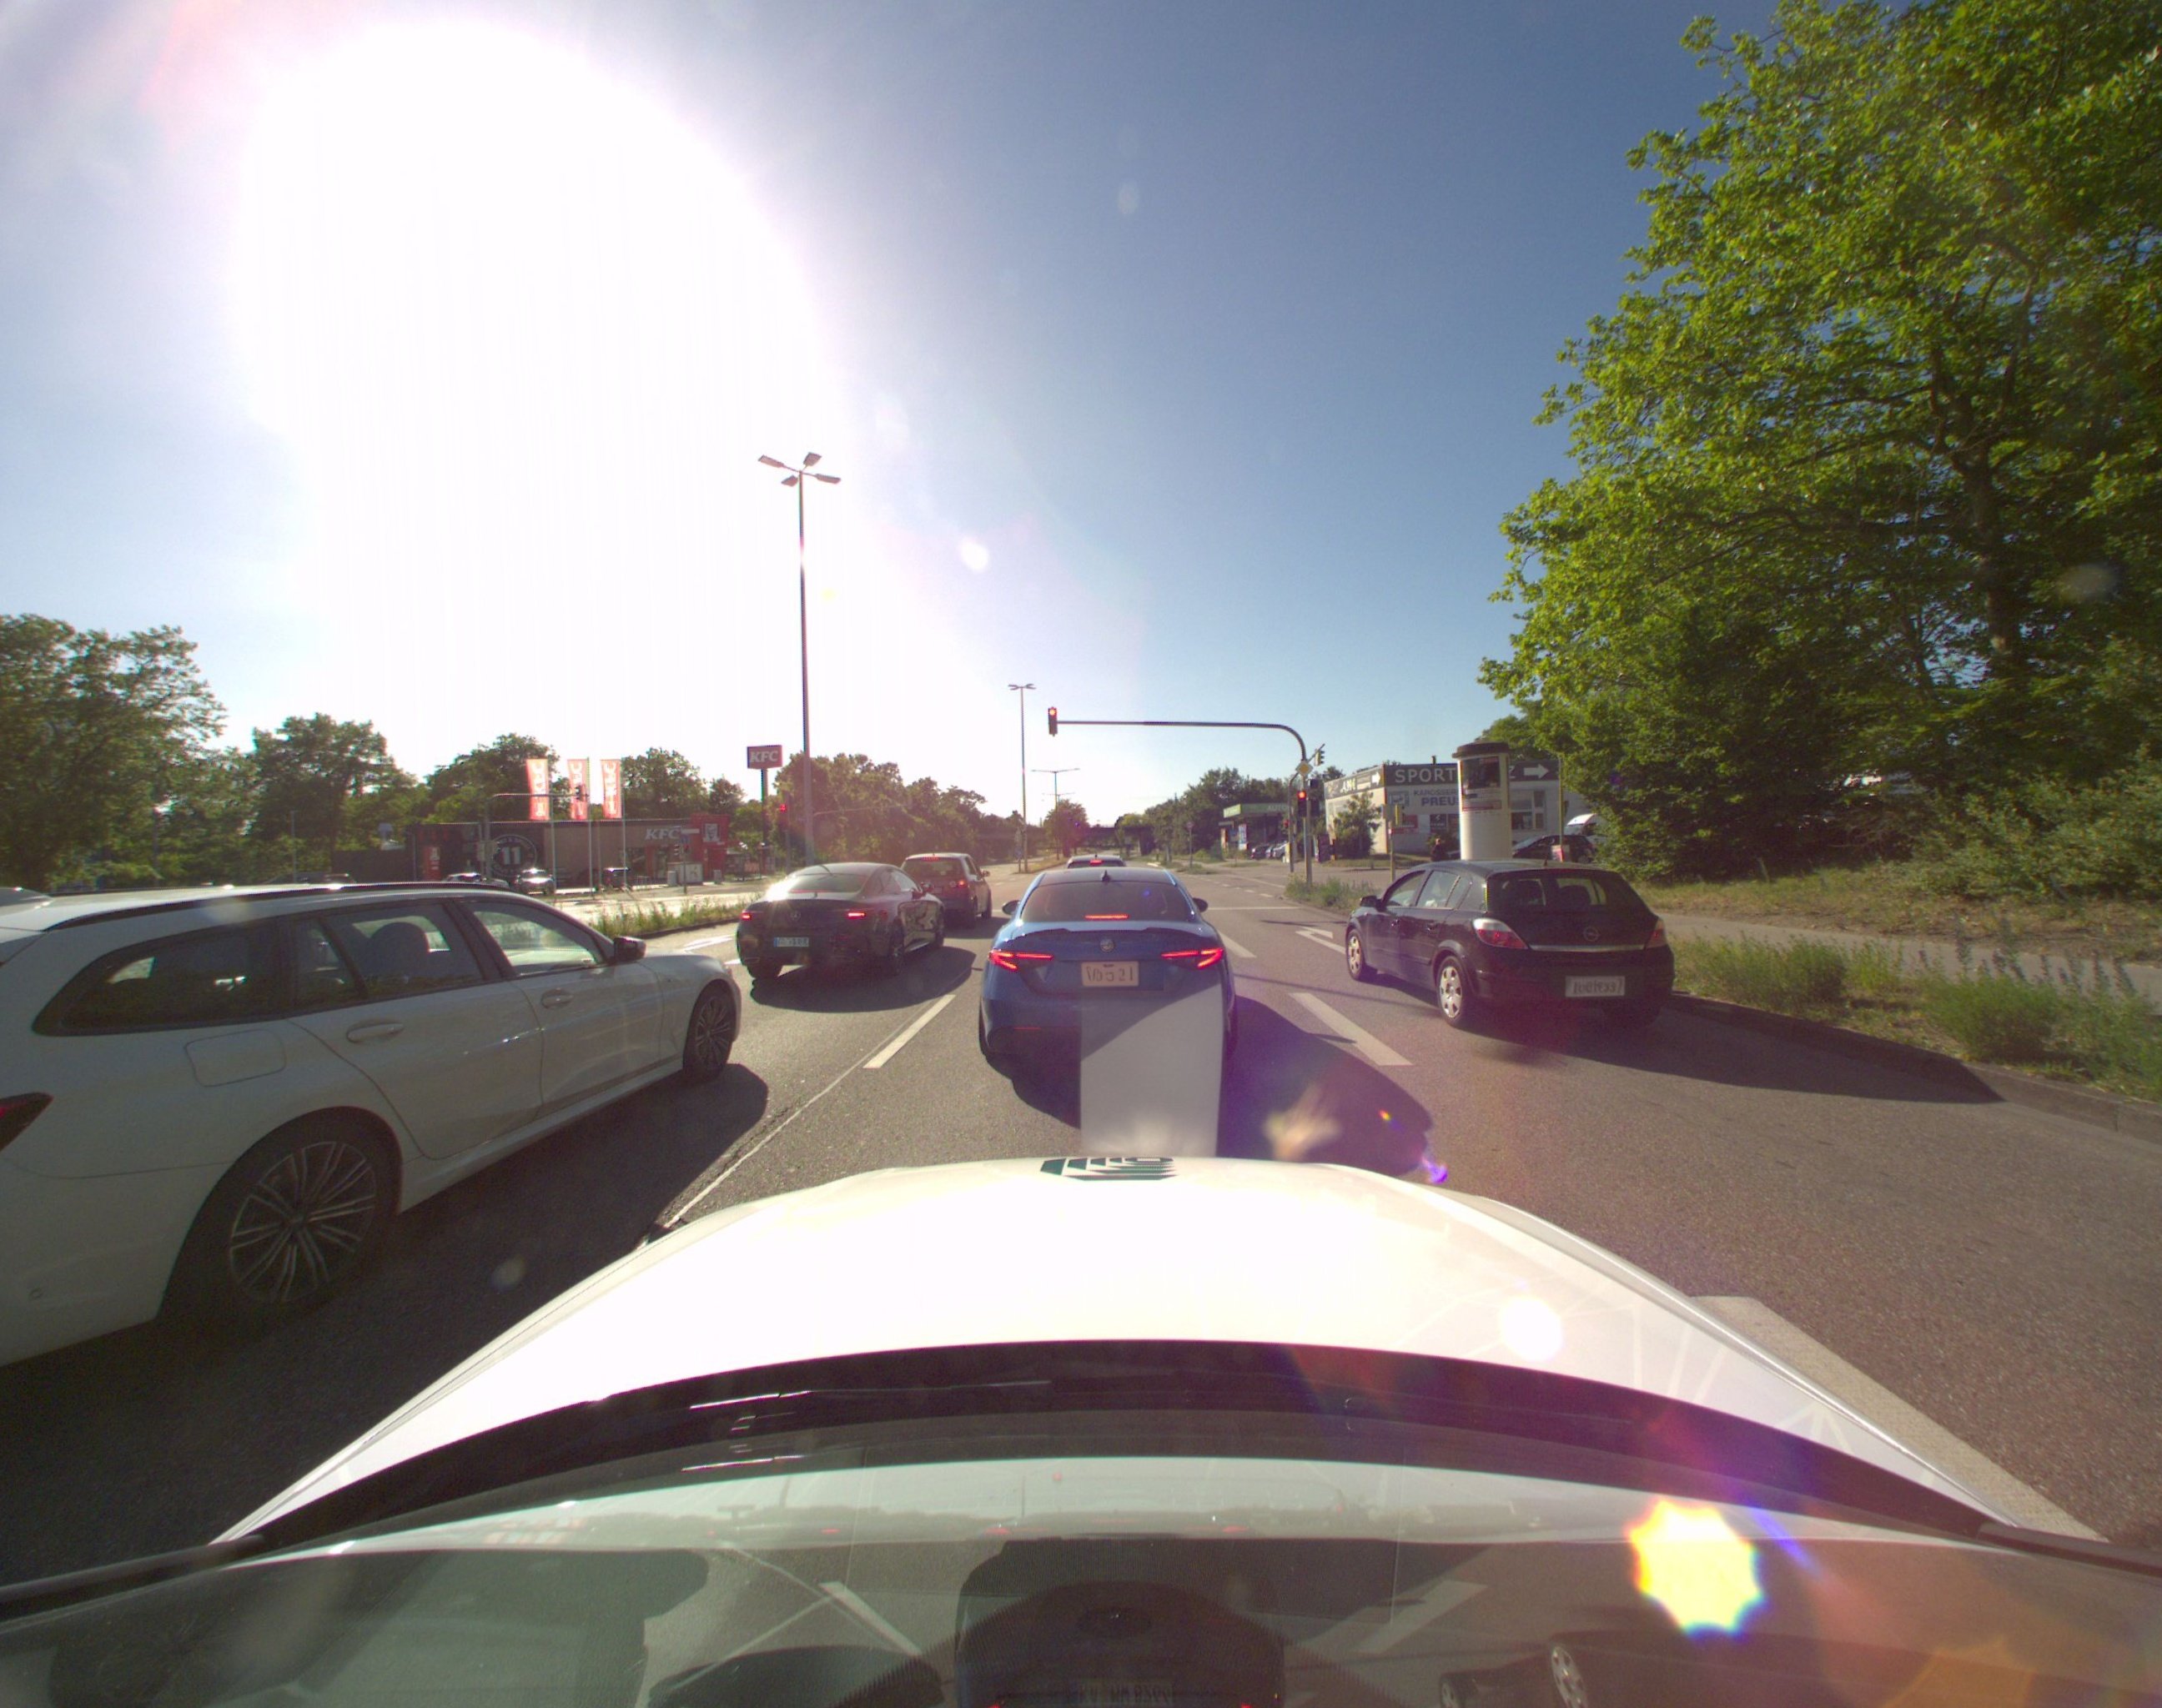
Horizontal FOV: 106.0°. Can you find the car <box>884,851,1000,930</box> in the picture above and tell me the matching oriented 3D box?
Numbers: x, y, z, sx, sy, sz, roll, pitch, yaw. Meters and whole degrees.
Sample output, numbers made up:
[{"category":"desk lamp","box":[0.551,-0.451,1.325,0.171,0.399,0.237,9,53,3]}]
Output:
[{"category":"car","box":[-2.974,0.743,18.278,1.806,1.551,4.353,0,-1,0]}]

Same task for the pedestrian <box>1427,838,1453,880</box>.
[{"category":"pedestrian","box":[14.235,0.197,32.307,0.814,1.669,0.514,0,-1,1]}]

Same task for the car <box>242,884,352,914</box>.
[{"category":"car","box":[-41.059,2.349,42.716,3.938,1.453,1.937,0,-1,2]}]

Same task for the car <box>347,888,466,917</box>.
[{"category":"car","box":[-32.135,2.315,38.884,4.070,1.252,1.871,0,-1,0]}]

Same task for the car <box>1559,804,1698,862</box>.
[{"category":"car","box":[28.637,-1.059,42.739,5.812,2.672,2.001,-3,-1,2]}]

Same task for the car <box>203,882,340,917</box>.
[{"category":"car","box":[-39.048,2.187,39.371,4.608,1.579,1.936,0,-1,0]}]

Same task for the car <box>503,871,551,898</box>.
[{"category":"car","box":[-37.482,2.021,55.075,1.946,1.740,4.046,0,-1,-45]}]

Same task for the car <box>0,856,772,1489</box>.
[{"category":"car","box":[-3.405,0.784,4.033,1.805,1.486,4.599,-1,0,2]}]

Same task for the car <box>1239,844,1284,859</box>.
[{"category":"car","box":[18.490,-0.243,83.511,3.995,1.552,1.989,0,-1,-16]}]

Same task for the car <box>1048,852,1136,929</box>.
[{"category":"car","box":[0.324,0.726,17.697,1.696,1.497,3.722,0,-1,3]}]

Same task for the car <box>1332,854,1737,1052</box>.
[{"category":"car","box":[3.998,0.735,8.165,1.727,1.442,4.373,0,0,2]}]

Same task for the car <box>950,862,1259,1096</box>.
[{"category":"car","box":[0.251,0.790,6.887,1.901,1.423,3.722,0,-1,3]}]

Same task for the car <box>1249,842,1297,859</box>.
[{"category":"car","box":[17.681,-0.294,75.106,3.971,1.552,2.001,0,-1,2]}]

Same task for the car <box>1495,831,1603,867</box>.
[{"category":"car","box":[22.594,-0.232,39.394,4.291,1.650,1.638,0,-1,1]}]

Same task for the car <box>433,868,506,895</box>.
[{"category":"car","box":[-43.443,1.934,57.940,1.974,1.813,3.796,-1,-1,39]}]

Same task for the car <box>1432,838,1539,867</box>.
[{"category":"car","box":[21.328,-0.092,43.042,4.803,1.468,1.758,0,-1,0]}]

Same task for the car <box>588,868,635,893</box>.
[{"category":"car","box":[-33.853,1.867,58.703,1.946,1.740,4.046,0,-1,-45]}]

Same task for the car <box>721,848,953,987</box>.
[{"category":"car","box":[-3.125,0.718,11.524,1.806,1.551,4.544,-1,0,1]}]
